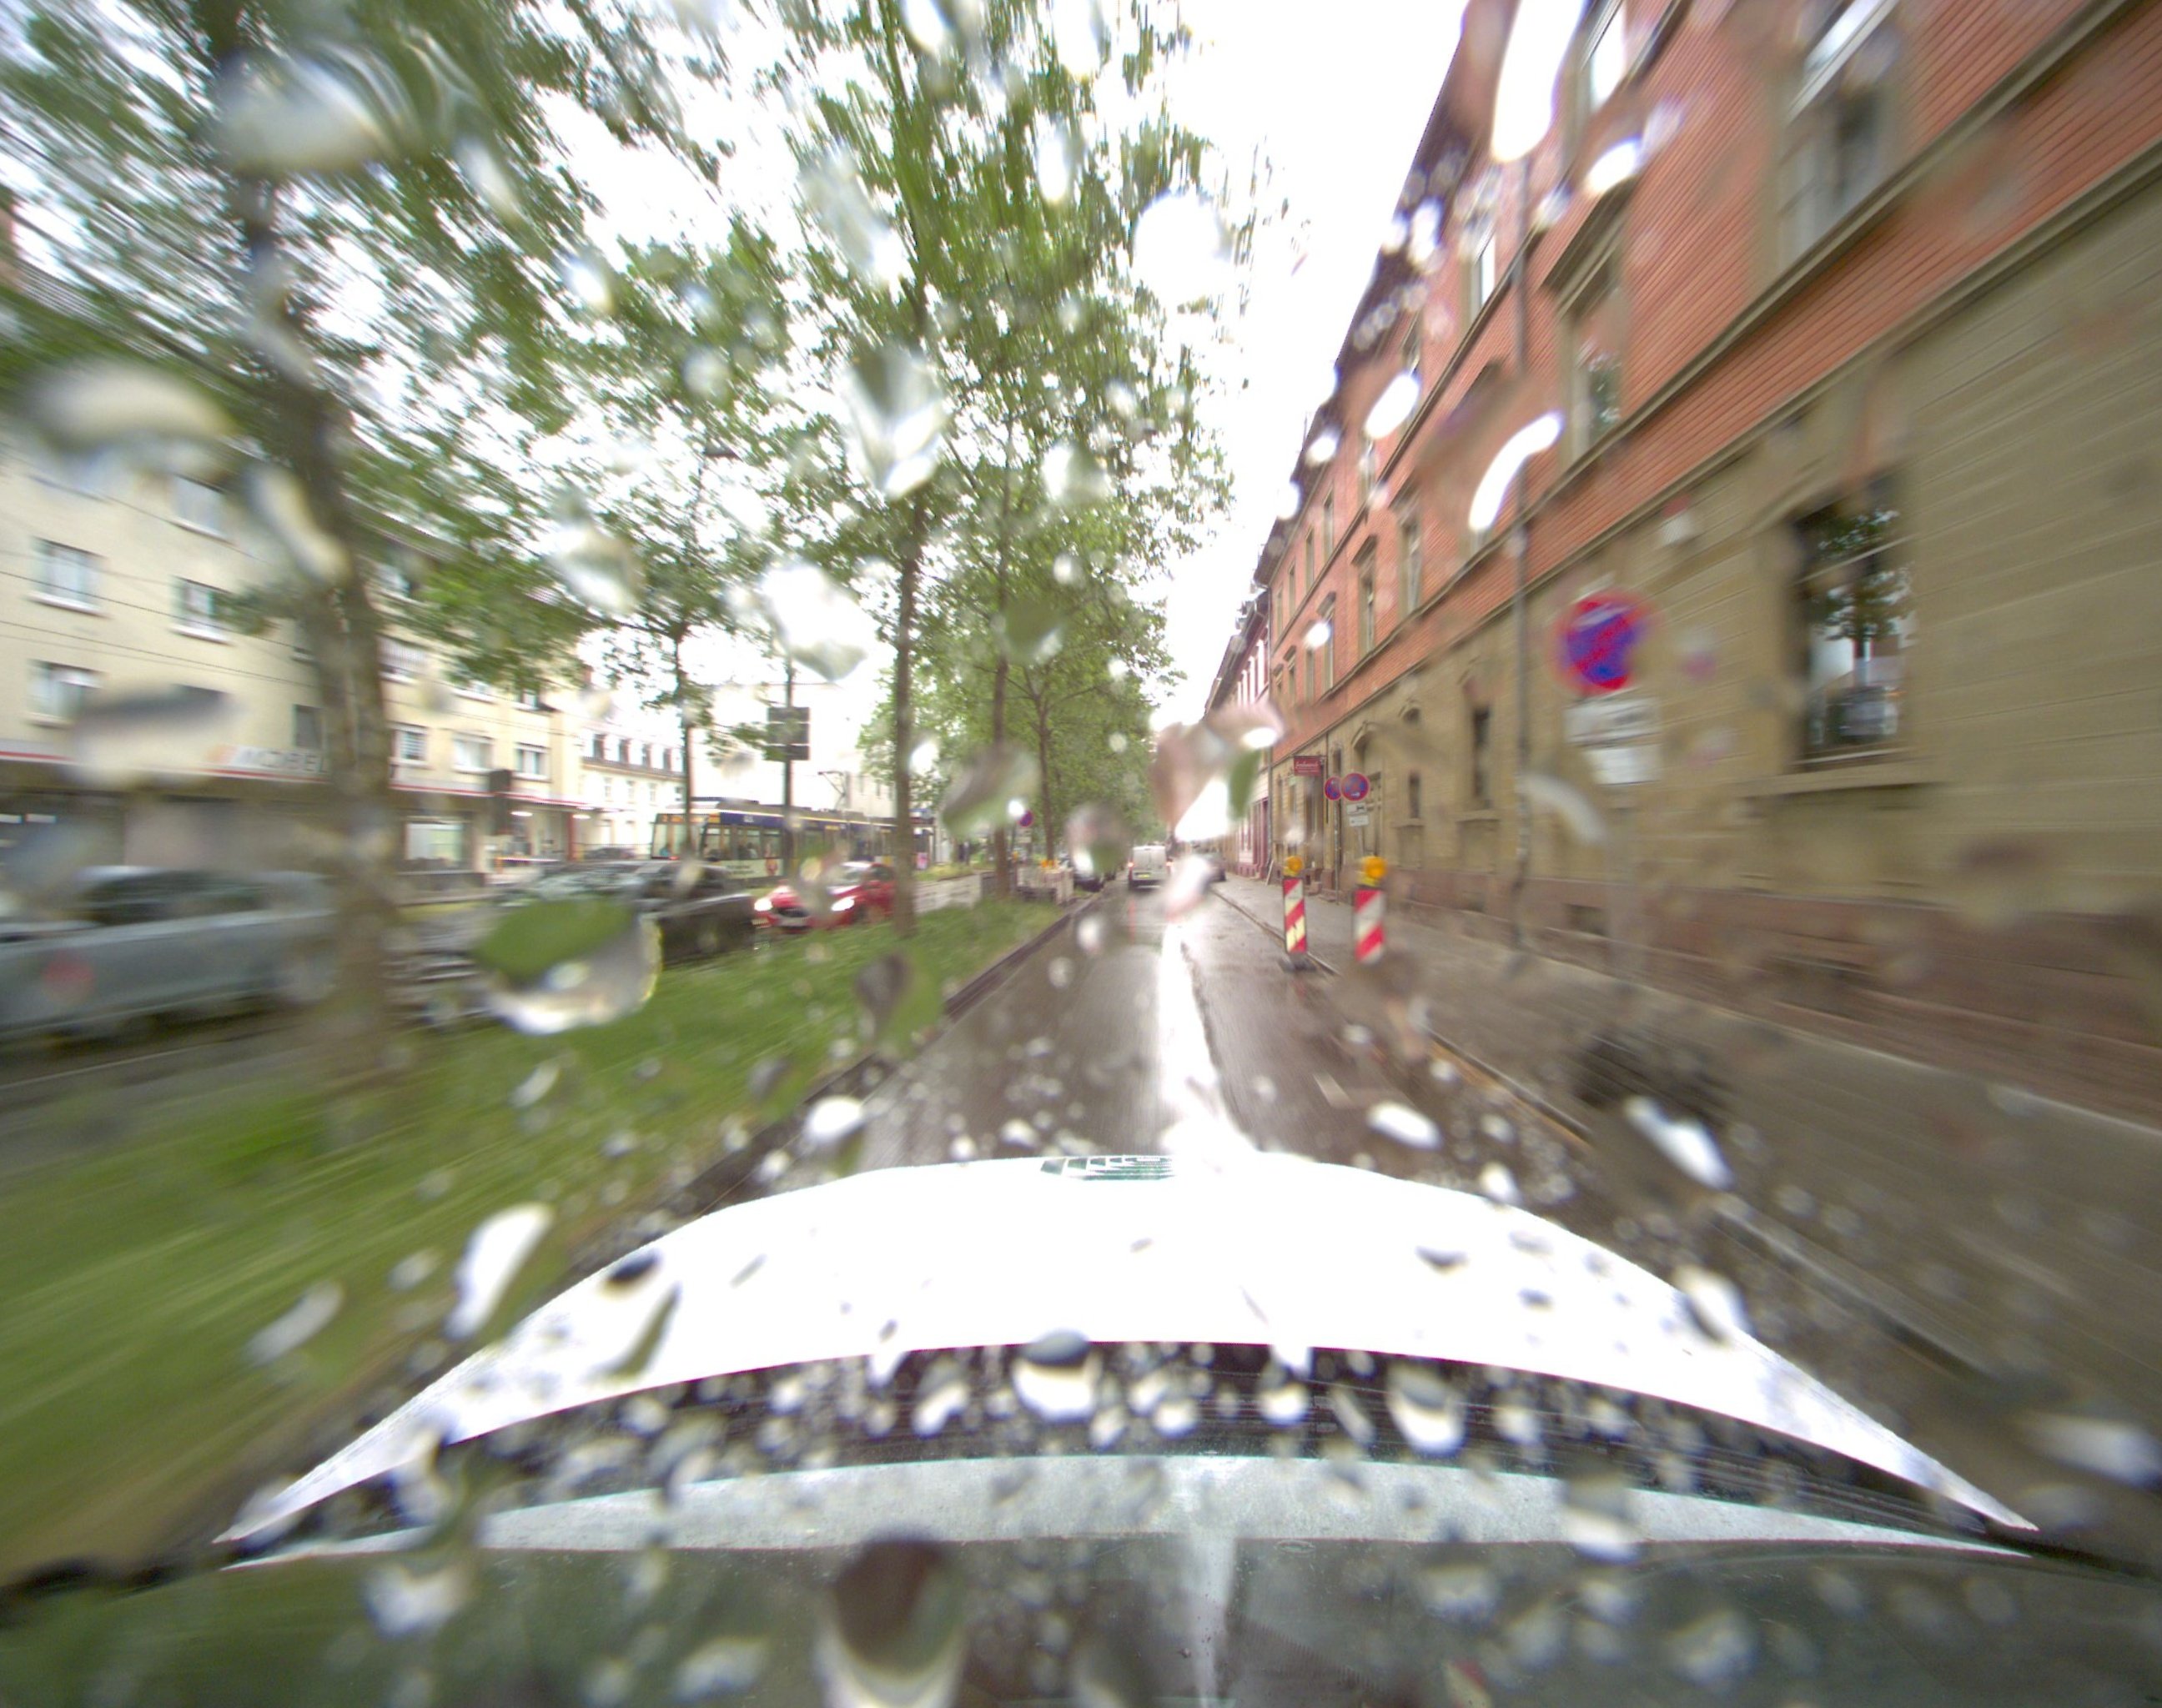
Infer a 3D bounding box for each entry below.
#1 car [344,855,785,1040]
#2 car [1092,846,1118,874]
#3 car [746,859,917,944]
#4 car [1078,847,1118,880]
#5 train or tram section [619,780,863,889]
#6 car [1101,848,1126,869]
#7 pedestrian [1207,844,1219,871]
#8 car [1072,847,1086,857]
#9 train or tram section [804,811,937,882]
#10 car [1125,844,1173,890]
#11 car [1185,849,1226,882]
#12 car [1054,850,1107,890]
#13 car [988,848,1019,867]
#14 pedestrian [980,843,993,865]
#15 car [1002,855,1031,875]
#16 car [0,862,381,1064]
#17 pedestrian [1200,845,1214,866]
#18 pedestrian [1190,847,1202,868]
[{"bbox_3d":[-5.124,0.778,8.990,1.733,1.480,4.438,0,0,5],"label":"car"},{"bbox_3d":[1.549,0.352,52.428,1.617,1.681,3.662,1,1,2],"label":"car"},{"bbox_3d":[-4.710,0.819,16.059,1.733,1.397,4.239,0,0,5],"label":"car"},{"bbox_3d":[0.929,0.454,42.508,1.690,1.635,4.363,0,0,6],"label":"car"},{"bbox_3d":[-13.070,-0.502,33.916,3.092,3.558,14.593,0,-1,4],"label":"train or tram section"},{"bbox_3d":[2.503,0.307,61.683,1.641,1.500,4.124,2,0,5],"label":"car"},{"bbox_3d":[8.448,0.208,52.123,0.636,1.684,0.604,-3,0,4],"label":"pedestrian"},{"bbox_3d":[-0.331,-0.310,133.373,1.990,1.581,3.994,0,0,-4],"label":"car"},{"bbox_3d":[-11.953,-0.255,48.522,3.092,3.558,14.690,0,-1,4],"label":"train or tram section"},{"bbox_3d":[2.873,0.556,34.163,1.894,1.797,4.119,0,-1,5],"label":"car"},{"bbox_3d":[6.080,0.519,40.145,1.804,1.420,4.707,-4,0,8],"label":"car"},{"bbox_3d":[0.065,0.616,33.533,1.820,1.503,4.619,1,0,4],"label":"car"},{"bbox_3d":[-5.934,0.278,62.855,1.731,1.343,3.760,3,1,4],"label":"car"},{"bbox_3d":[-7.351,-0.009,63.527,0.814,1.703,0.873,0,0,4],"label":"pedestrian"},{"bbox_3d":[-5.611,0.932,71.123,1.985,1.613,4.005,0,0,4],"label":"car"},{"bbox_3d":[-8.566,0.803,6.740,1.733,1.397,4.136,0,0,5],"label":"car"},{"bbox_3d":[9.143,0.112,59.092,0.836,1.511,1.109,-3,0,5],"label":"pedestrian"},{"bbox_3d":[9.940,0.280,70.329,0.836,1.716,1.109,-4,0,5],"label":"pedestrian"}]
